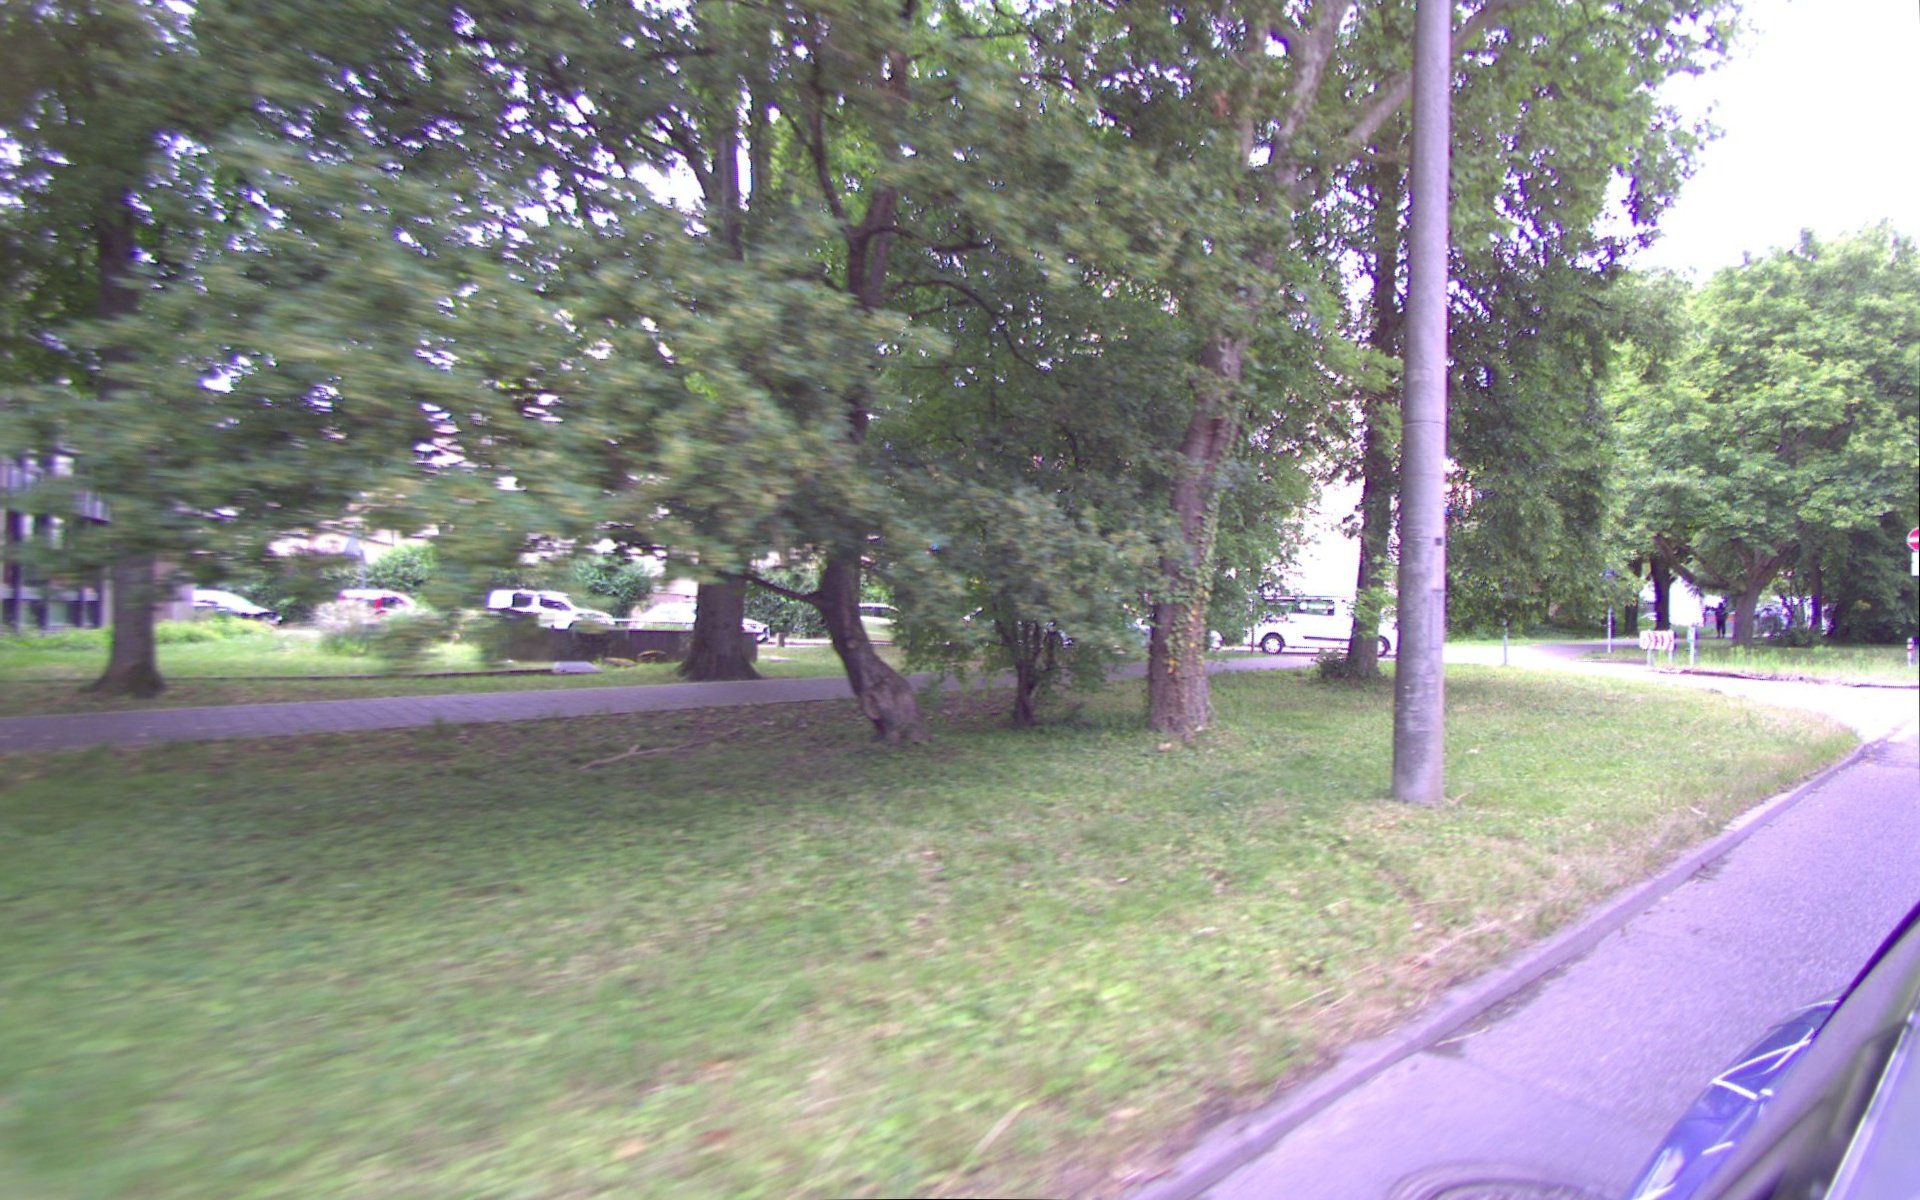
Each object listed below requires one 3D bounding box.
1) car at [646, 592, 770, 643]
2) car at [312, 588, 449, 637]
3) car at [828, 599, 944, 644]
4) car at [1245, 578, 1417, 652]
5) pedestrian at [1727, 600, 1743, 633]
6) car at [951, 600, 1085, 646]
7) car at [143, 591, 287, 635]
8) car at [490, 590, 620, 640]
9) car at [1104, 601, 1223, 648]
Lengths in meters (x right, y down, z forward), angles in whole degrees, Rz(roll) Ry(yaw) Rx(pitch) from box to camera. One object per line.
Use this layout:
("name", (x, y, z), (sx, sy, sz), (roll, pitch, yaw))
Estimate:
("car", (-8.897, 0.622, 35.896), (3.926, 1.696, 1.798), (1, -1, 2))
("car", (-20.916, 0.451, 36.641), (3.926, 1.696, 1.798), (1, -1, 2))
("car", (-2.582, 0.755, 35.904), (3.926, 1.530, 1.799), (1, -1, 2))
("car", (12.265, 0.475, 33.881), (5.252, 2.329, 2.280), (0, -1, 17))
("pedestrian", (39.797, 0.834, 51.944), (0.647, 1.682, 0.641), (0, -1, 38))
("car", (2.025, 0.796, 35.353), (4.521, 1.530, 1.798), (1, -1, 4))
("car", (-26.909, 0.472, 36.641), (3.926, 1.530, 1.798), (1, -1, 2))
("car", (-14.428, 0.545, 36.166), (3.926, 1.696, 1.798), (1, -1, 2))
("car", (6.960, 0.820, 34.909), (3.935, 1.530, 1.794), (0, -1, 10))
